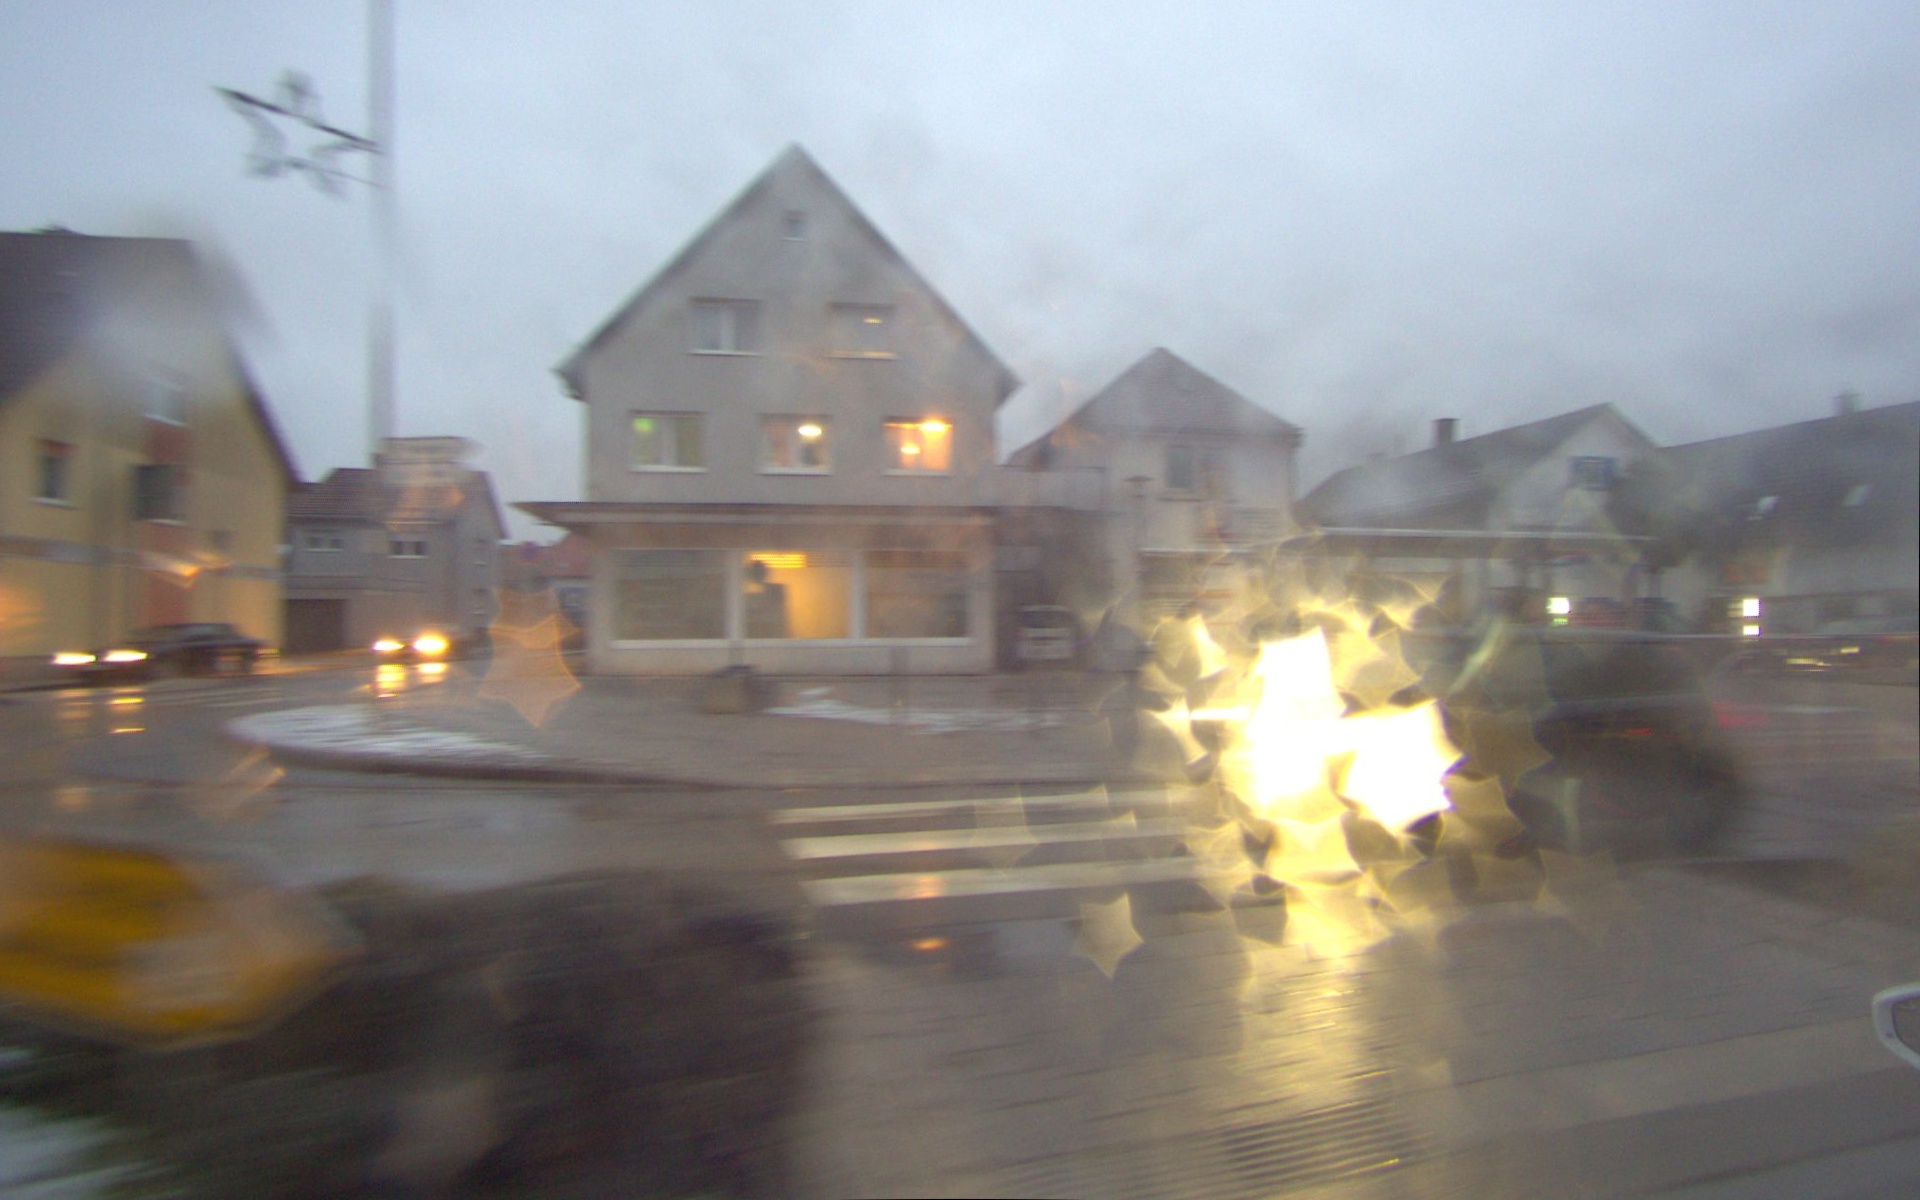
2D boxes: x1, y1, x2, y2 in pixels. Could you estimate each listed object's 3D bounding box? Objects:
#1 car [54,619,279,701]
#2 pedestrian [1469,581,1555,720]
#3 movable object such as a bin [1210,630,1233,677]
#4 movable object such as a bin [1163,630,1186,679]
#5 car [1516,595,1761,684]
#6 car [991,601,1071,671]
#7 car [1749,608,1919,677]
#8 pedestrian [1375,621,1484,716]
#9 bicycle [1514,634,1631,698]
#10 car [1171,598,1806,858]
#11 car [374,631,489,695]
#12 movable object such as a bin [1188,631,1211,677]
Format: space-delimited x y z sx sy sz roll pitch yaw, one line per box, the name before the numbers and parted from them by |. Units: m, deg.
car | -18.309 1.327 23.492 1.852 1.626 4.372 2 0 -3
pedestrian | 7.294 0.641 13.296 0.677 1.766 0.747 -1 1 -19
movable object such as a bin | 6.647 1.362 25.554 0.446 1.158 0.287 2 0 -15
movable object such as a bin | 5.389 1.369 25.247 0.446 1.226 0.287 2 0 -15
car | 14.504 0.848 21.530 4.487 1.723 1.757 -1 -4 -14
car | 1.974 1.026 28.814 1.486 1.877 3.421 1 -1 -11
car | 20.977 0.999 23.425 4.499 1.502 1.802 0 -3 -18
pedestrian | 6.272 0.891 13.466 0.886 1.174 0.990 -2 0 -10
bicycle | 10.255 1.098 16.841 1.705 1.023 0.471 0 -1 -4
car | 3.637 0.774 7.156 3.831 1.523 1.703 0 -1 -13
car | -19.331 2.248 36.975 1.961 2.040 4.463 2 0 -3
movable object such as a bin | 6.069 1.358 25.422 0.446 1.135 0.287 2 0 -15
